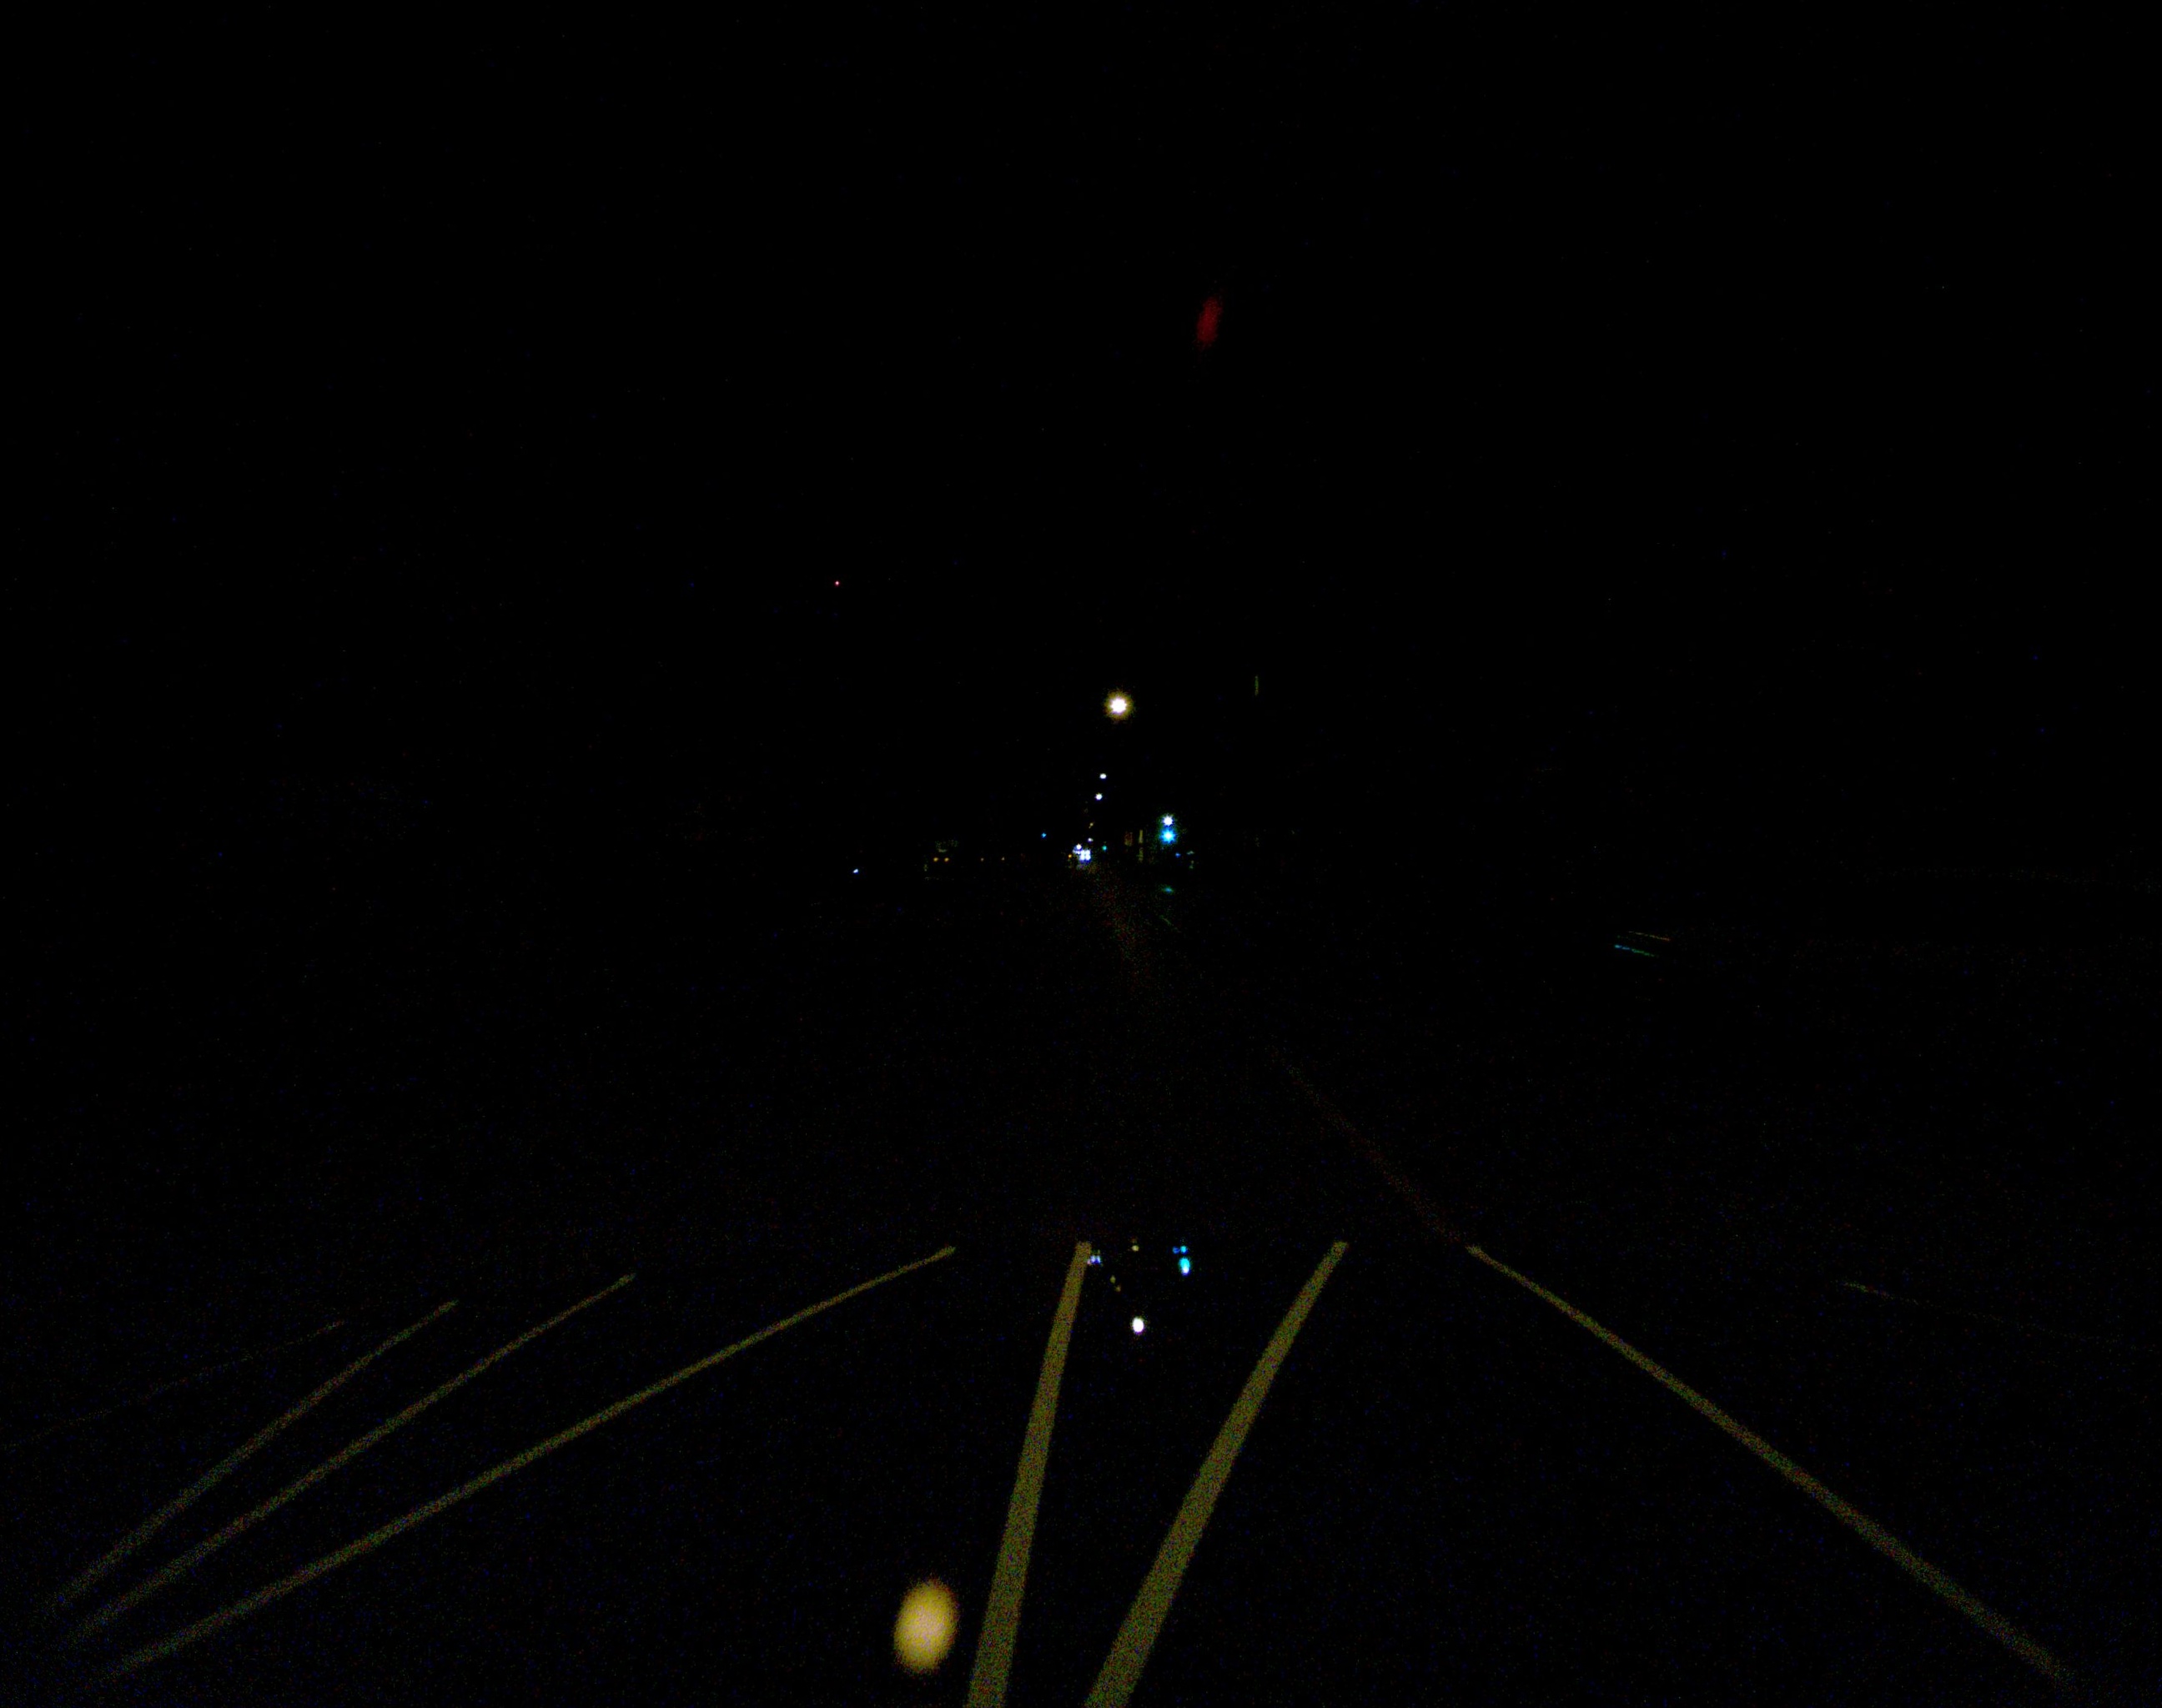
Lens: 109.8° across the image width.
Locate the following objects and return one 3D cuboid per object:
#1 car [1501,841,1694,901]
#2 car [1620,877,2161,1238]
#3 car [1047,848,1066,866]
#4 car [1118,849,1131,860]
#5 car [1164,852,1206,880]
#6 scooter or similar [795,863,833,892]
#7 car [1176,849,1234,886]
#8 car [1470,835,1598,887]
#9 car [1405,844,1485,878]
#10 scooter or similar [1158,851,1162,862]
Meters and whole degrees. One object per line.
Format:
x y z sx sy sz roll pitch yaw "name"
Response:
14.140 0.458 21.025 3.994 1.417 1.763 -3 1 10 "car"
5.674 0.955 4.508 1.819 1.476 4.347 0 0 -1 "car"
-2.508 0.277 78.981 1.916 1.816 4.899 0 0 -2 "car"
6.533 0.062 114.197 1.731 1.477 4.291 -1 0 -1 "car"
5.835 0.638 42.900 1.652 1.506 3.700 -1 1 -3 "car"
-11.311 0.974 32.246 0.499 1.139 1.669 3 2 25 "scooter or similar"
5.950 0.624 36.984 1.853 1.640 4.670 -1 0 -3 "car"
15.250 0.202 25.874 1.761 1.529 4.186 -3 1 0 "car"
15.102 0.276 31.727 1.560 1.309 3.562 -1 1 -1 "car"
9.196 0.317 88.412 0.332 1.218 1.335 -1 1 2 "scooter or similar"
